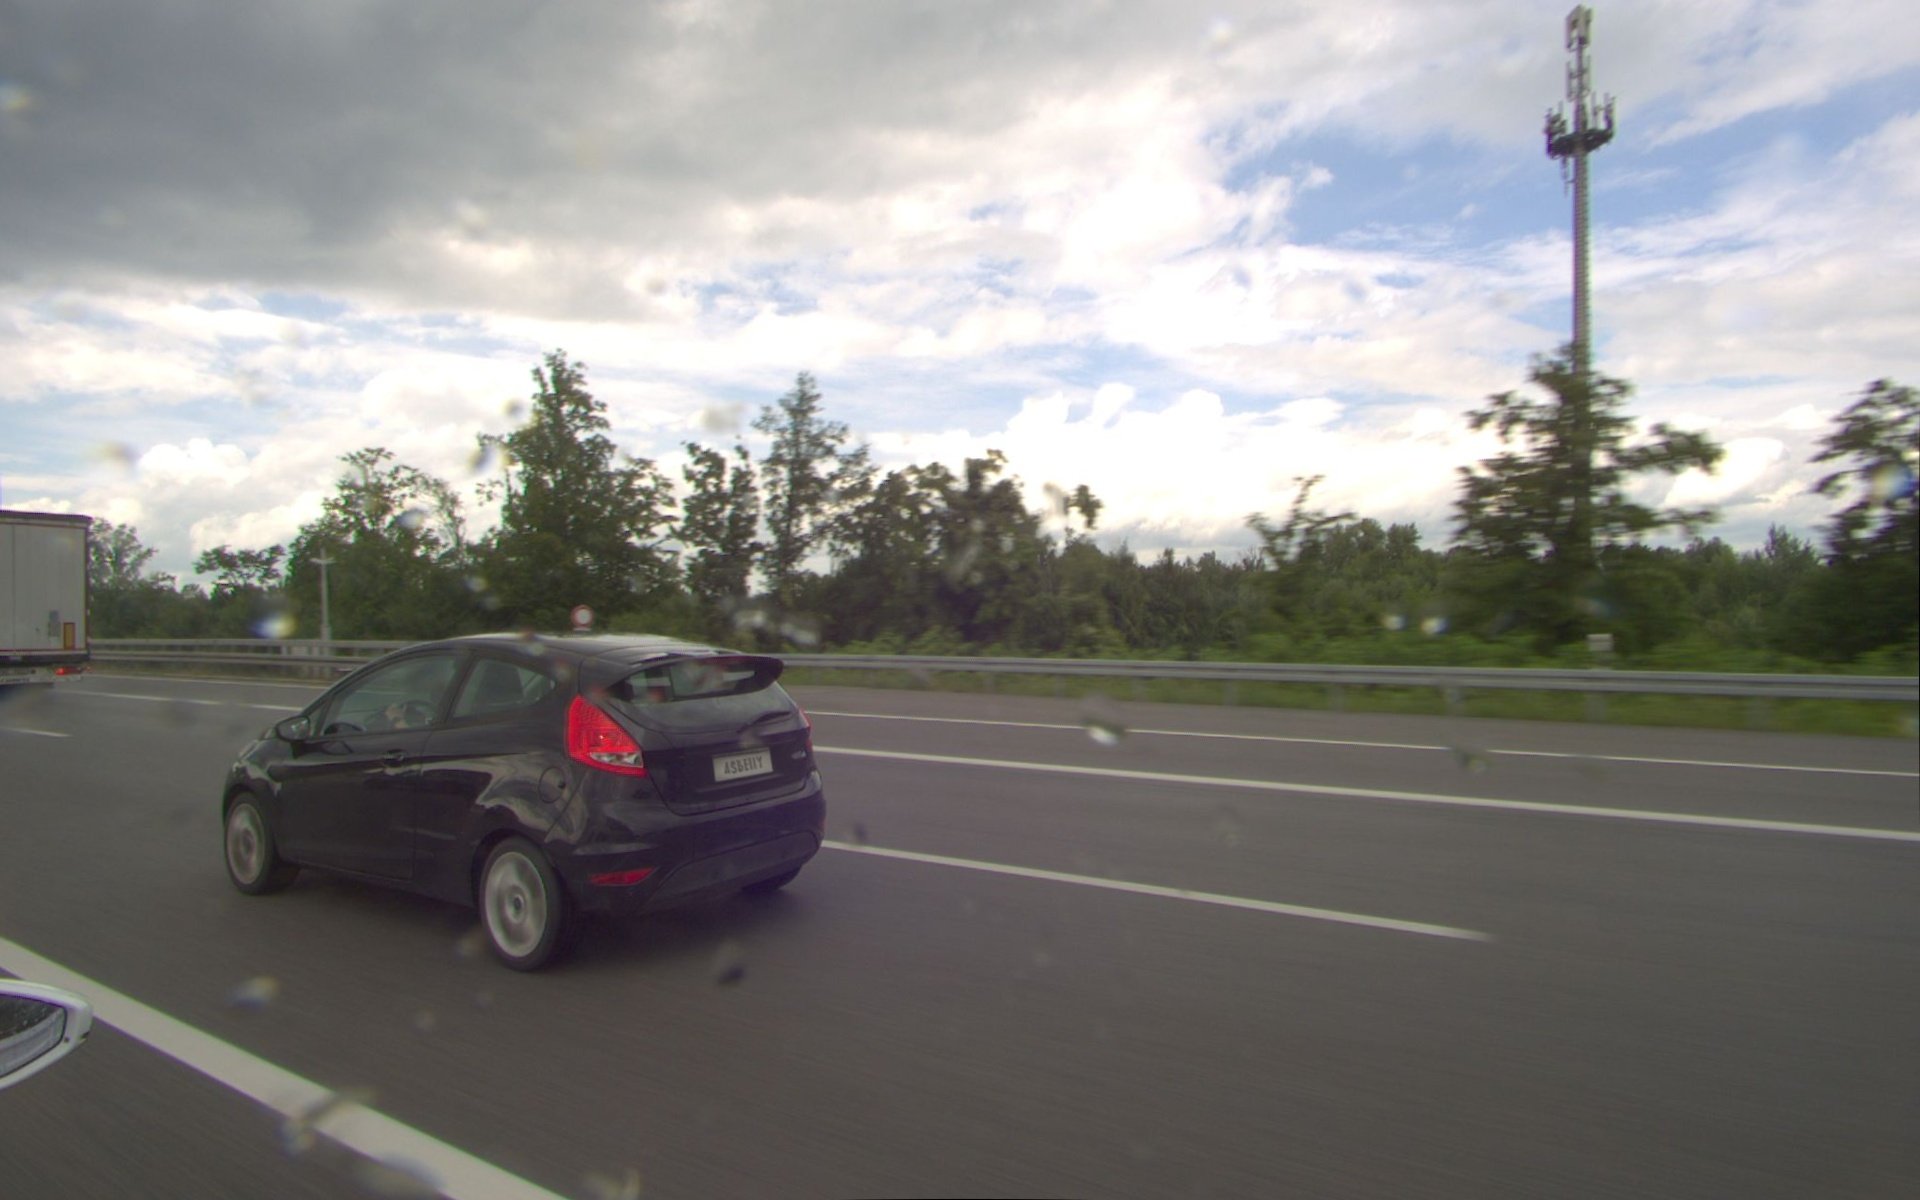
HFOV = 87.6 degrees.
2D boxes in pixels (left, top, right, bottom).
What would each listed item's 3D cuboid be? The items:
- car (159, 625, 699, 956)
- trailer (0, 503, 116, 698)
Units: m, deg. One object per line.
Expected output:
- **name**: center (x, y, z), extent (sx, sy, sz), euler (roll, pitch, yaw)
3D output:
- **car**: center (-3.183, 0.885, 5.894), extent (3.118, 1.460, 1.444), euler (-1, -1, 32)
- **trailer**: center (-25.570, 0.088, 25.007), extent (13.918, 4.072, 2.955), euler (-1, -1, 33)
